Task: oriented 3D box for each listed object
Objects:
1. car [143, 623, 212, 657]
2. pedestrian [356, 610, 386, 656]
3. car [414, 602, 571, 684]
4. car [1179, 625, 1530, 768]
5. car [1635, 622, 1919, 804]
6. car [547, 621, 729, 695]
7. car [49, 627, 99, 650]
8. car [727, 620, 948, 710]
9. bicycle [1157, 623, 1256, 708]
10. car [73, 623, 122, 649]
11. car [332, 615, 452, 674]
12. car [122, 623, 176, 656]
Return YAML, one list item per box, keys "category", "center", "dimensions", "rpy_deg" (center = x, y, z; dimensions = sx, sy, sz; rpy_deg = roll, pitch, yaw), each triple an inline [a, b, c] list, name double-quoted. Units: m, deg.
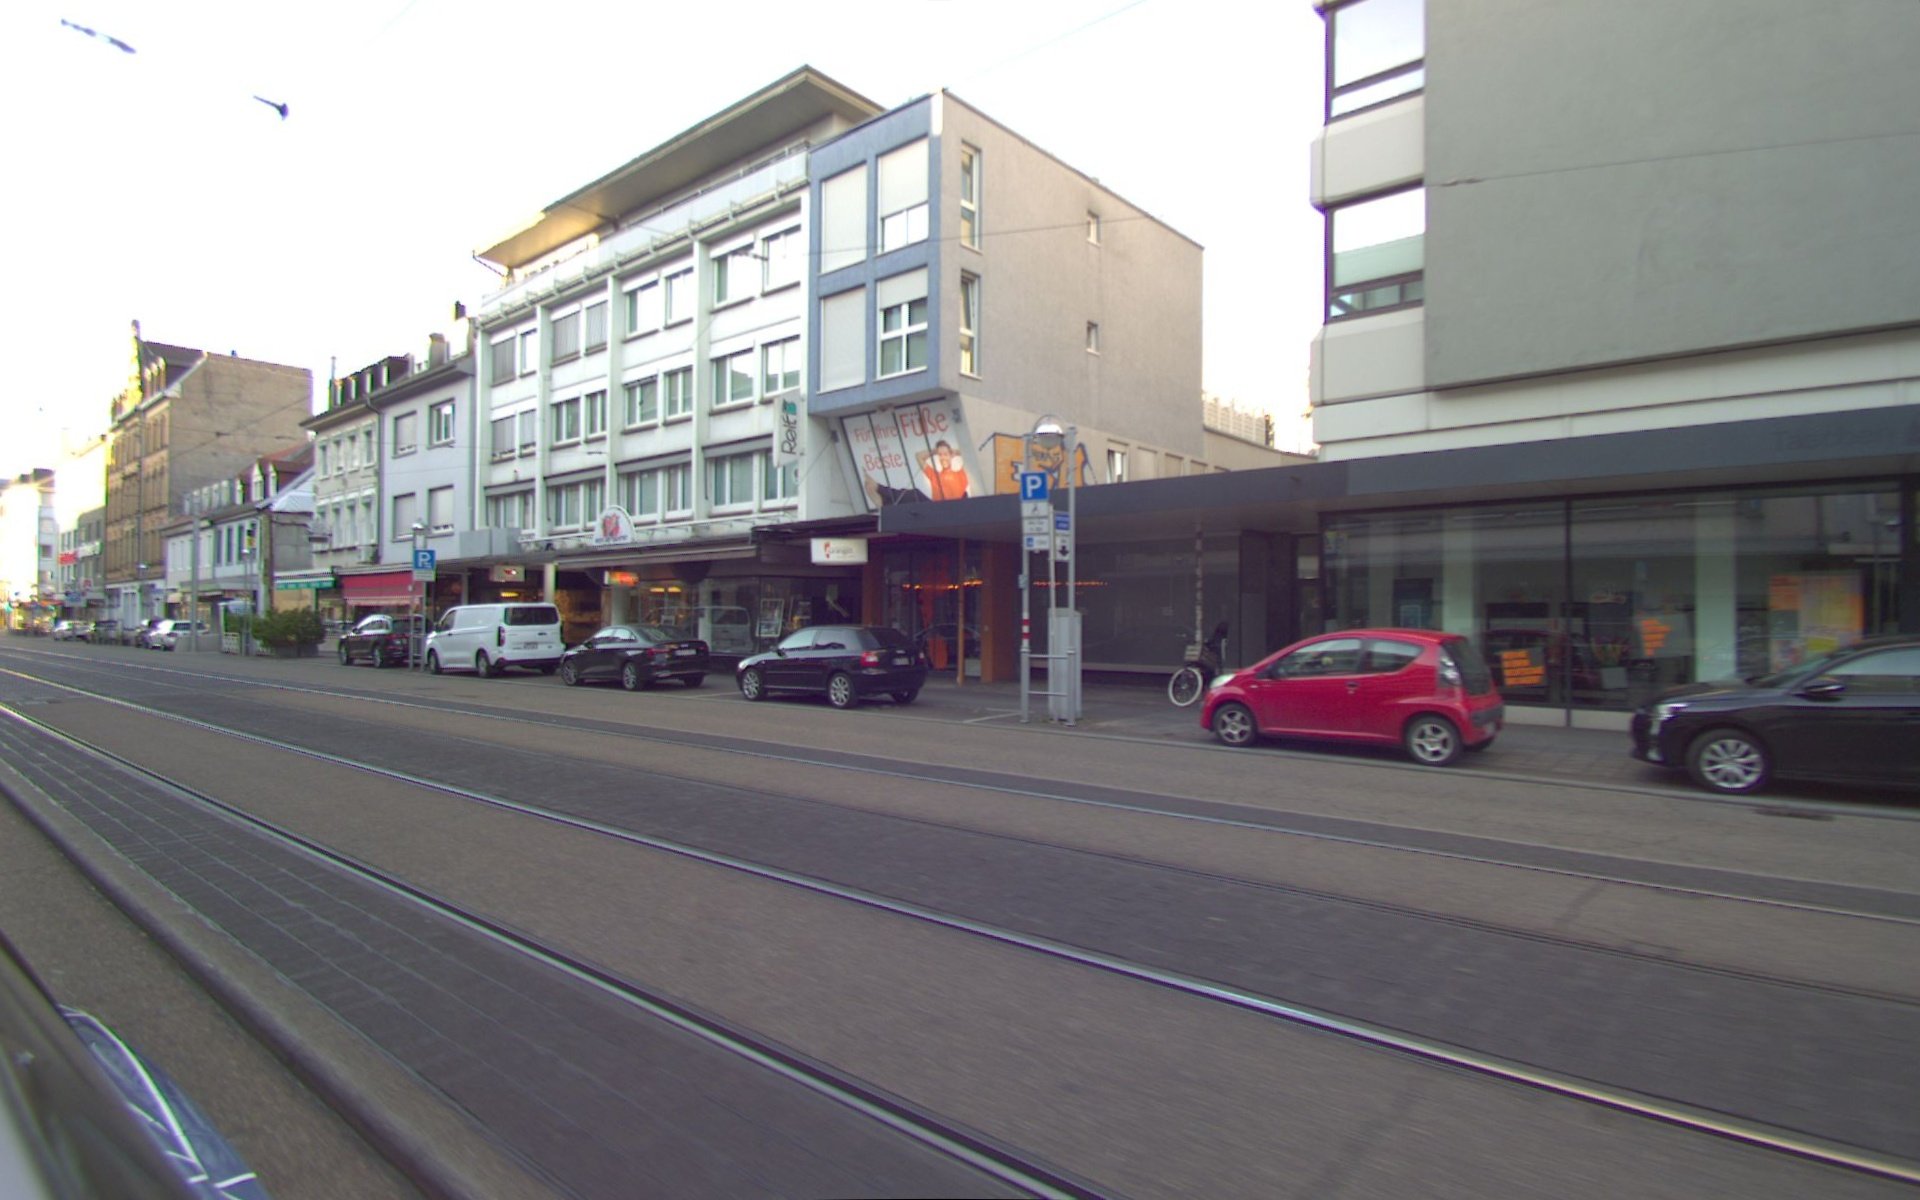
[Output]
- category: "car"
  center: [-39.194, 1.961, 50.647]
  dimensions: [4.620, 1.568, 1.872]
  rpy_deg: [-1, 0, 41]
- category: "pedestrian"
  center: [-23.506, 1.311, 40.399]
  dimensions: [0.818, 1.795, 0.809]
  rpy_deg: [-1, 0, 41]
- category: "car"
  center: [-12.988, 1.109, 27.948]
  dimensions: [5.096, 2.029, 1.944]
  rpy_deg: [-1, 0, 40]
- category: "car"
  center: [4.666, 1.036, 12.220]
  dimensions: [3.590, 1.445, 1.674]
  rpy_deg: [-1, -1, 41]
- category: "car"
  center: [8.452, 0.942, 8.931]
  dimensions: [3.963, 1.436, 1.674]
  rpy_deg: [-1, 0, 41]
- category: "car"
  center: [-7.387, 1.237, 22.991]
  dimensions: [4.569, 1.437, 1.852]
  rpy_deg: [-1, 0, 41]
- category: "car"
  center: [-63.413, 2.733, 72.442]
  dimensions: [4.399, 1.431, 1.974]
  rpy_deg: [-1, 0, 39]
- category: "car"
  center: [-2.318, 1.107, 18.546]
  dimensions: [4.090, 1.472, 1.771]
  rpy_deg: [-1, -2, 42]
- category: "bicycle"
  center: [4.393, 1.119, 17.931]
  dimensions: [0.875, 1.350, 2.025]
  rpy_deg: [-1, 0, 41]
- category: "car"
  center: [-54.671, 2.254, 64.126]
  dimensions: [3.814, 1.504, 1.822]
  rpy_deg: [-1, 0, 41]
- category: "car"
  center: [-18.527, 1.378, 32.948]
  dimensions: [4.586, 1.710, 1.973]
  rpy_deg: [-1, 0, 41]
- category: "car"
  center: [-43.061, 2.071, 53.714]
  dimensions: [3.469, 1.582, 1.638]
  rpy_deg: [-1, 0, 41]
